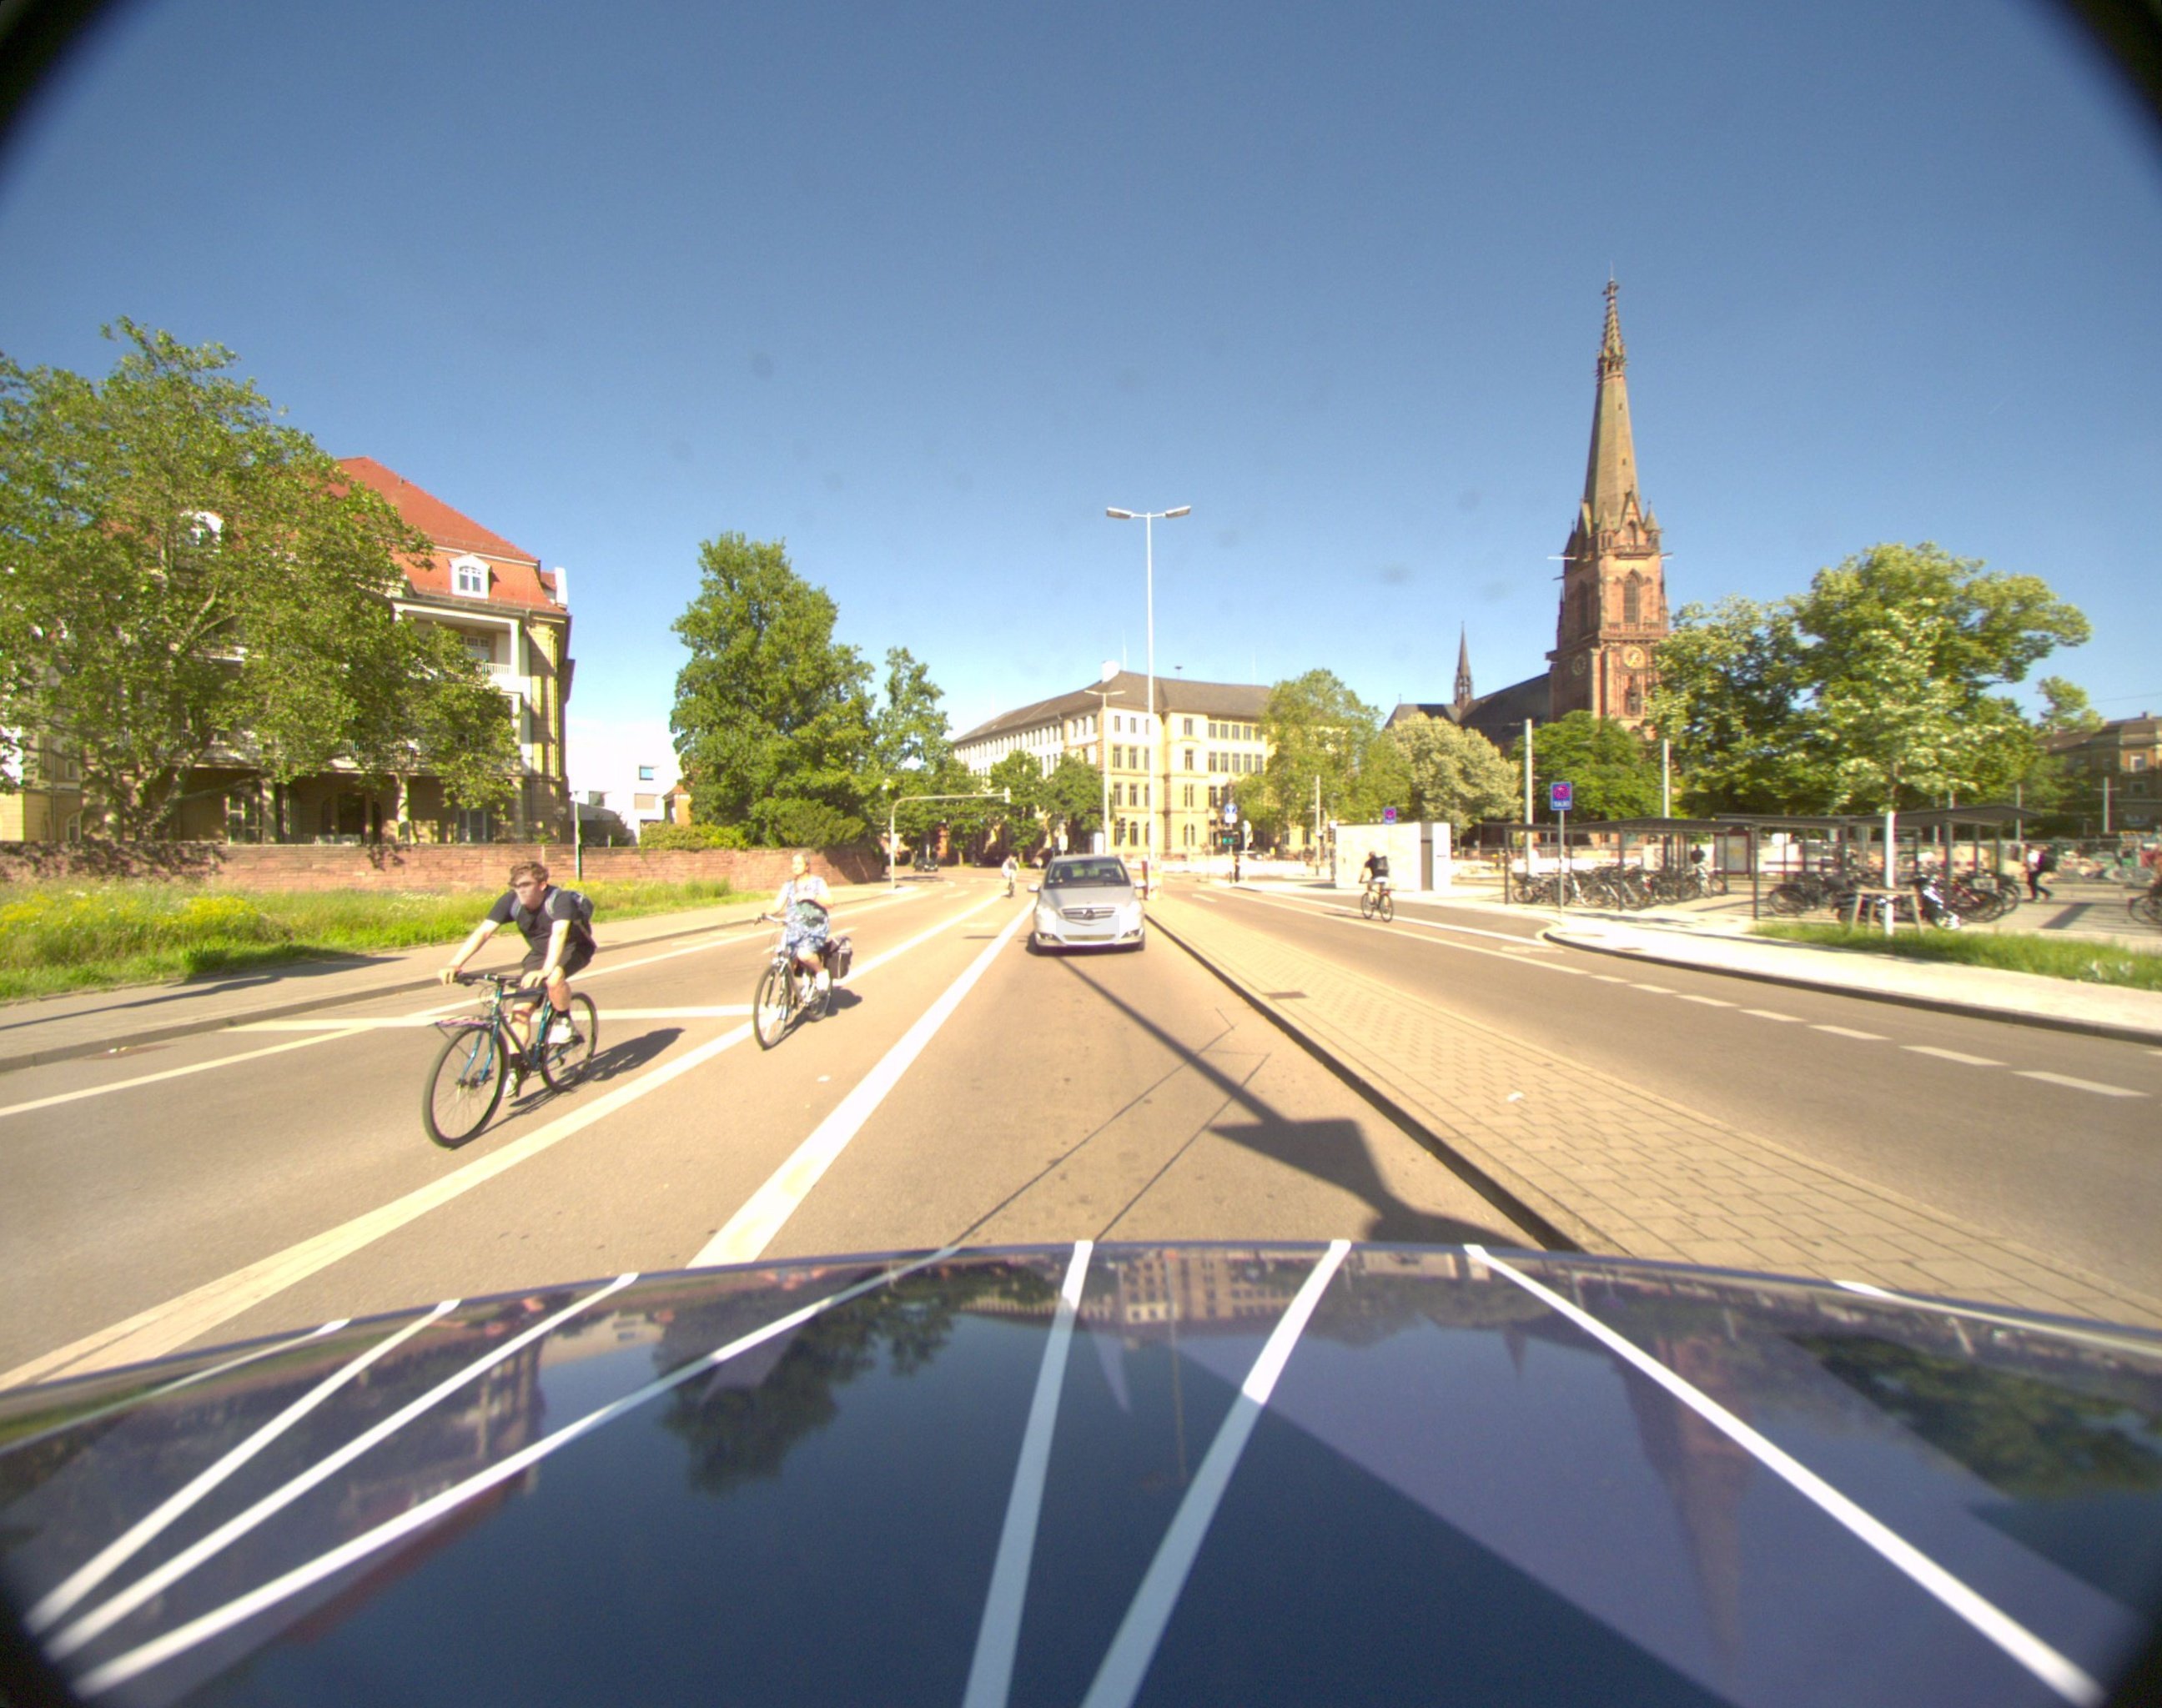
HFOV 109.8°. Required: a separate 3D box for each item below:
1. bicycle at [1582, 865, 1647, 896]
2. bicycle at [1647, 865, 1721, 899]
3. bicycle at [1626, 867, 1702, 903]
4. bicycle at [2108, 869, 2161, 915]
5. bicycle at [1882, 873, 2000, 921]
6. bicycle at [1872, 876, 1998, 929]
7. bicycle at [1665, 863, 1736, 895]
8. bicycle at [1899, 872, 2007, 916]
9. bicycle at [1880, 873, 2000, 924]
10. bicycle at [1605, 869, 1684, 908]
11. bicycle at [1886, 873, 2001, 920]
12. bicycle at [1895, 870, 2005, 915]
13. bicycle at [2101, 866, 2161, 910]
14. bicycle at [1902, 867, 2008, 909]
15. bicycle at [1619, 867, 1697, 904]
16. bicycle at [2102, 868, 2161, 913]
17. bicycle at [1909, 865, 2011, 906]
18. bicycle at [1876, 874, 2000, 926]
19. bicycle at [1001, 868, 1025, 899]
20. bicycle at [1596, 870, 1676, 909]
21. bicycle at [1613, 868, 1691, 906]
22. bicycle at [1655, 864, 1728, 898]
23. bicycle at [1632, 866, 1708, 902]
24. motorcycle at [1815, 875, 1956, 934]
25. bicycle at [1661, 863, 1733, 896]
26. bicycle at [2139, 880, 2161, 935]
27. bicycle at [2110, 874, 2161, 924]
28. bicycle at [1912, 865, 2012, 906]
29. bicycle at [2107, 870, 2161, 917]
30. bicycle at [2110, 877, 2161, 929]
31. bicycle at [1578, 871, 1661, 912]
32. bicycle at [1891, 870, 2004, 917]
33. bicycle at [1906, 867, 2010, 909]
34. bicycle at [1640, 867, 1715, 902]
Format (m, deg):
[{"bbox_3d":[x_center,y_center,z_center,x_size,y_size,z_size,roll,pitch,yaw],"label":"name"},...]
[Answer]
[{"bbox_3d":[18.893,0.914,26.927,0.569,1.032,1.783,0,1,-38],"label":"bicycle"},{"bbox_3d":[19.593,0.890,24.705,0.569,1.032,1.783,0,1,-38],"label":"bicycle"},{"bbox_3d":[18.059,0.945,23.566,0.569,1.032,1.783,0,1,-38],"label":"bicycle"},{"bbox_3d":[25.052,0.887,17.408,0.569,1.032,1.783,0,1,-38],"label":"bicycle"},{"bbox_3d":[20.238,0.990,17.917,0.569,1.032,1.783,0,1,-38],"label":"bicycle"},{"bbox_3d":[18.666,1.033,16.654,0.569,1.032,1.783,0,1,-38],"label":"bicycle"},{"bbox_3d":[21.101,0.829,25.908,0.569,1.032,1.783,0,1,-38],"label":"bicycle"},{"bbox_3d":[22.441,1.000,19.589,0.569,1.032,1.783,0,1,-38],"label":"bicycle"},{"bbox_3d":[19.668,0.994,17.436,0.569,1.032,1.783,0,1,-38],"label":"bicycle"},{"bbox_3d":[16.620,0.995,22.447,0.569,1.032,1.783,0,1,-38],"label":"bicycle"},{"bbox_3d":[20.740,0.998,18.312,0.569,1.032,1.783,0,1,-38],"label":"bicycle"},{"bbox_3d":[21.865,0.938,19.153,0.569,1.032,1.783,0,1,-38],"label":"bicycle"},{"bbox_3d":[26.129,0.833,18.329,0.569,1.032,1.783,0,1,-38],"label":"bicycle"},{"bbox_3d":[23.043,0.872,20.063,0.569,1.032,1.783,0,1,-38],"label":"bicycle"},{"bbox_3d":[17.583,0.950,23.194,0.569,1.032,1.783,0,1,-38],"label":"bicycle"},{"bbox_3d":[25.638,0.867,17.946,0.569,1.032,1.783,0,1,-38],"label":"bicycle"},{"bbox_3d":[24.038,0.844,20.806,0.569,1.032,1.783,0,1,-38],"label":"bicycle"},{"bbox_3d":[19.196,1.001,17.058,0.569,1.032,1.783,0,1,-38],"label":"bicycle"},{"bbox_3d":[-2.811,1.194,31.485,0.778,1.158,1.967,-2,0,0],"label":"bicycle"},{"bbox_3d":[16.116,1.010,22.094,0.569,1.032,1.783,0,1,-38],"label":"bicycle"},{"bbox_3d":[17.106,0.970,22.804,0.569,1.032,1.783,0,1,-38],"label":"bicycle"},{"bbox_3d":[20.139,0.879,25.094,0.569,1.032,1.783,0,1,-38],"label":"bicycle"},{"bbox_3d":[18.561,0.927,23.964,0.569,1.032,1.783,0,1,-38],"label":"bicycle"},{"bbox_3d":[16.995,1.030,16.115,0.596,1.112,1.980,-1,1,-34],"label":"motorcycle"},{"bbox_3d":[20.629,0.850,25.487,0.569,1.032,1.783,0,1,-38],"label":"bicycle"},{"bbox_3d":[21.625,1.057,14.401,0.569,1.032,1.783,0,1,-38],"label":"bicycle"},{"bbox_3d":[23.241,0.973,16.030,0.569,1.032,1.783,0,1,-38],"label":"bicycle"},{"bbox_3d":[24.540,0.855,21.202,0.569,1.032,1.783,0,1,-38],"label":"bicycle"},{"bbox_3d":[24.469,0.904,16.983,0.569,1.032,1.783,0,1,-38],"label":"bicycle"},{"bbox_3d":[22.439,1.018,15.431,0.569,1.032,1.783,0,1,-38],"label":"bicycle"},{"bbox_3d":[15.075,1.033,21.319,0.569,1.032,1.783,0,1,-38],"label":"bicycle"},{"bbox_3d":[21.300,0.947,18.719,0.569,1.032,1.783,0,1,-38],"label":"bicycle"},{"bbox_3d":[23.531,0.891,20.422,0.569,1.032,1.783,0,1,-38],"label":"bicycle"},{"bbox_3d":[19.056,0.943,24.312,0.569,1.032,1.783,0,1,-38],"label":"bicycle"}]
